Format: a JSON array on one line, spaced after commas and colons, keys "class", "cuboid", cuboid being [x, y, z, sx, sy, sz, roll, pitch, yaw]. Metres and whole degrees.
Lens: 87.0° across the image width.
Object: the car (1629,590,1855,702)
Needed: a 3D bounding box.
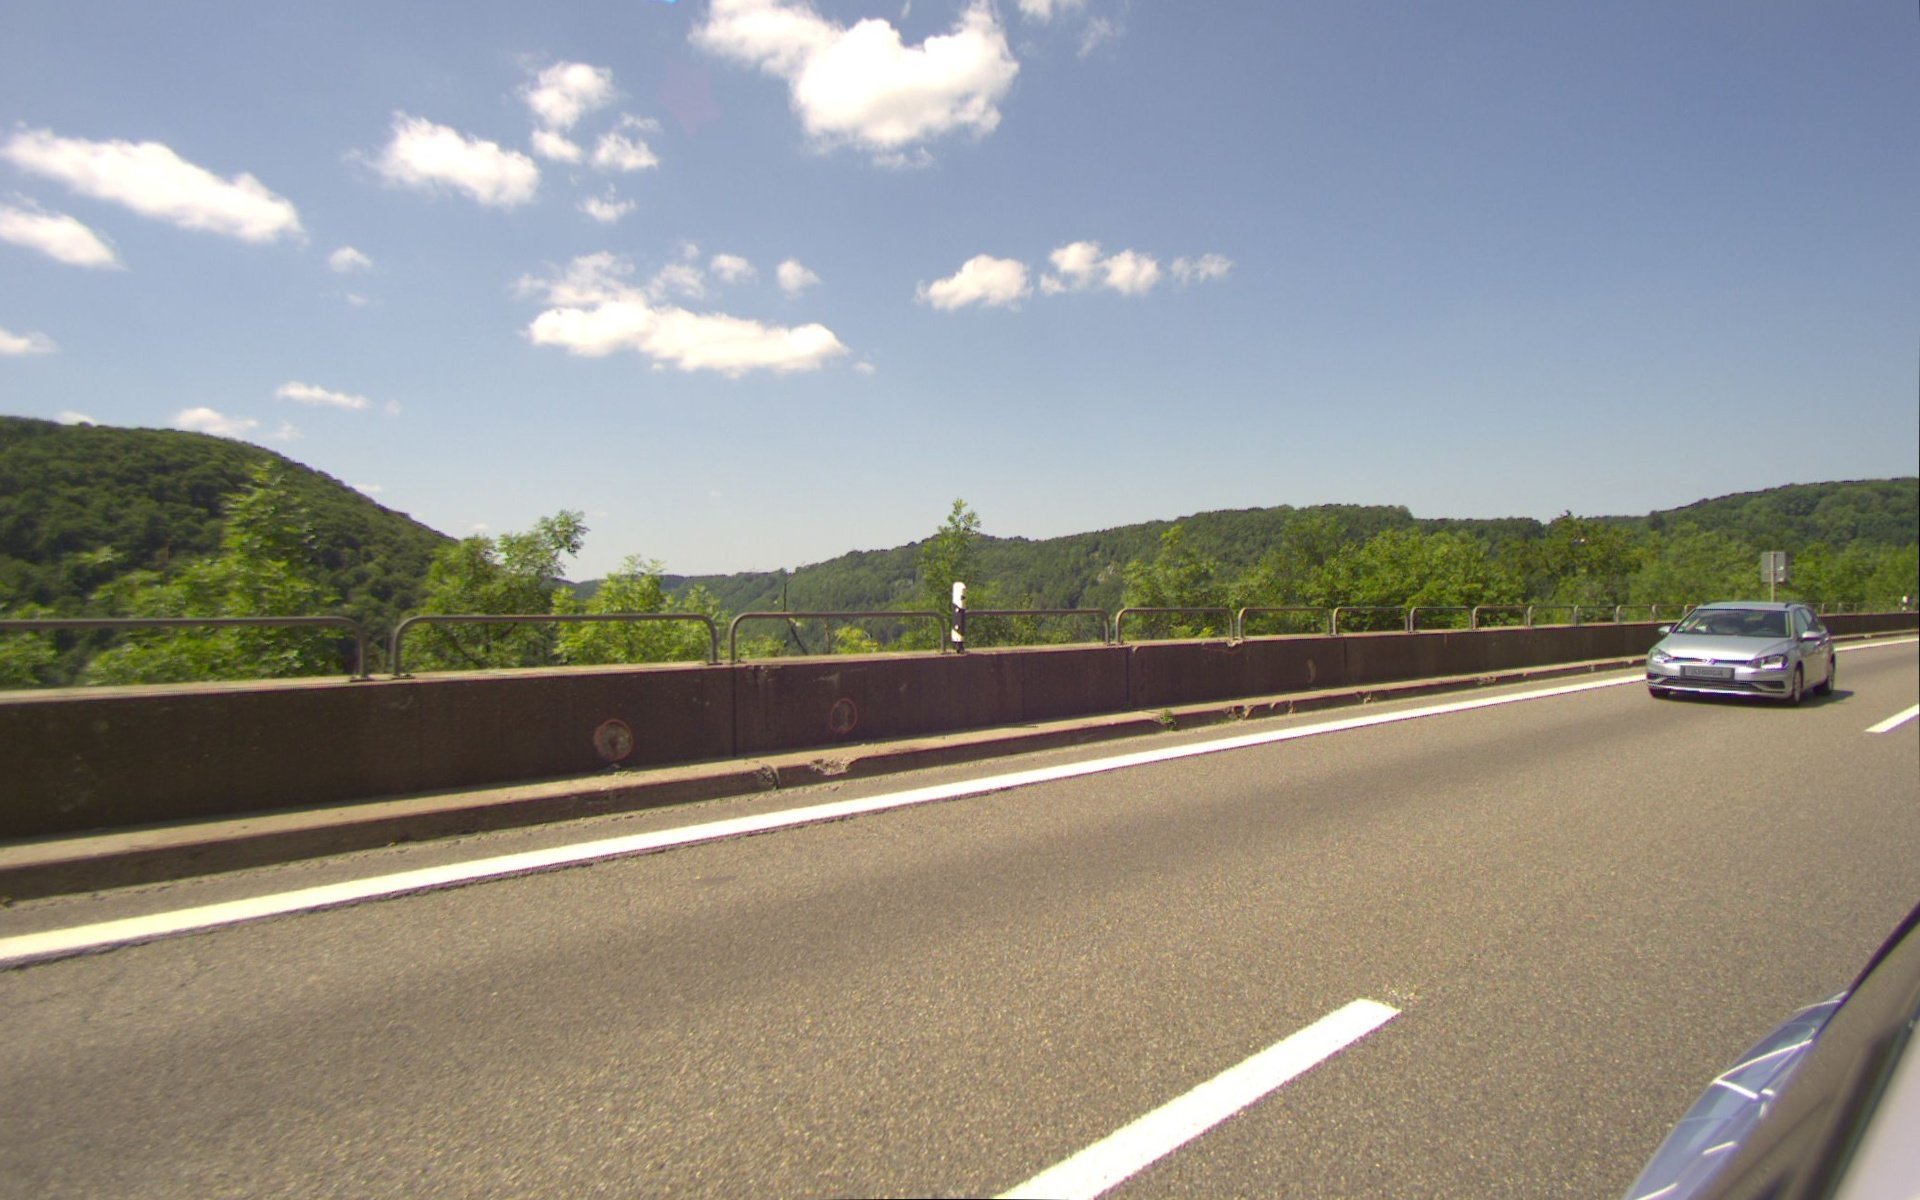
[{"class": "car", "cuboid": [12.070, 0.585, 15.529, 4.219, 1.394, 1.971, -1, 2, -41]}]
